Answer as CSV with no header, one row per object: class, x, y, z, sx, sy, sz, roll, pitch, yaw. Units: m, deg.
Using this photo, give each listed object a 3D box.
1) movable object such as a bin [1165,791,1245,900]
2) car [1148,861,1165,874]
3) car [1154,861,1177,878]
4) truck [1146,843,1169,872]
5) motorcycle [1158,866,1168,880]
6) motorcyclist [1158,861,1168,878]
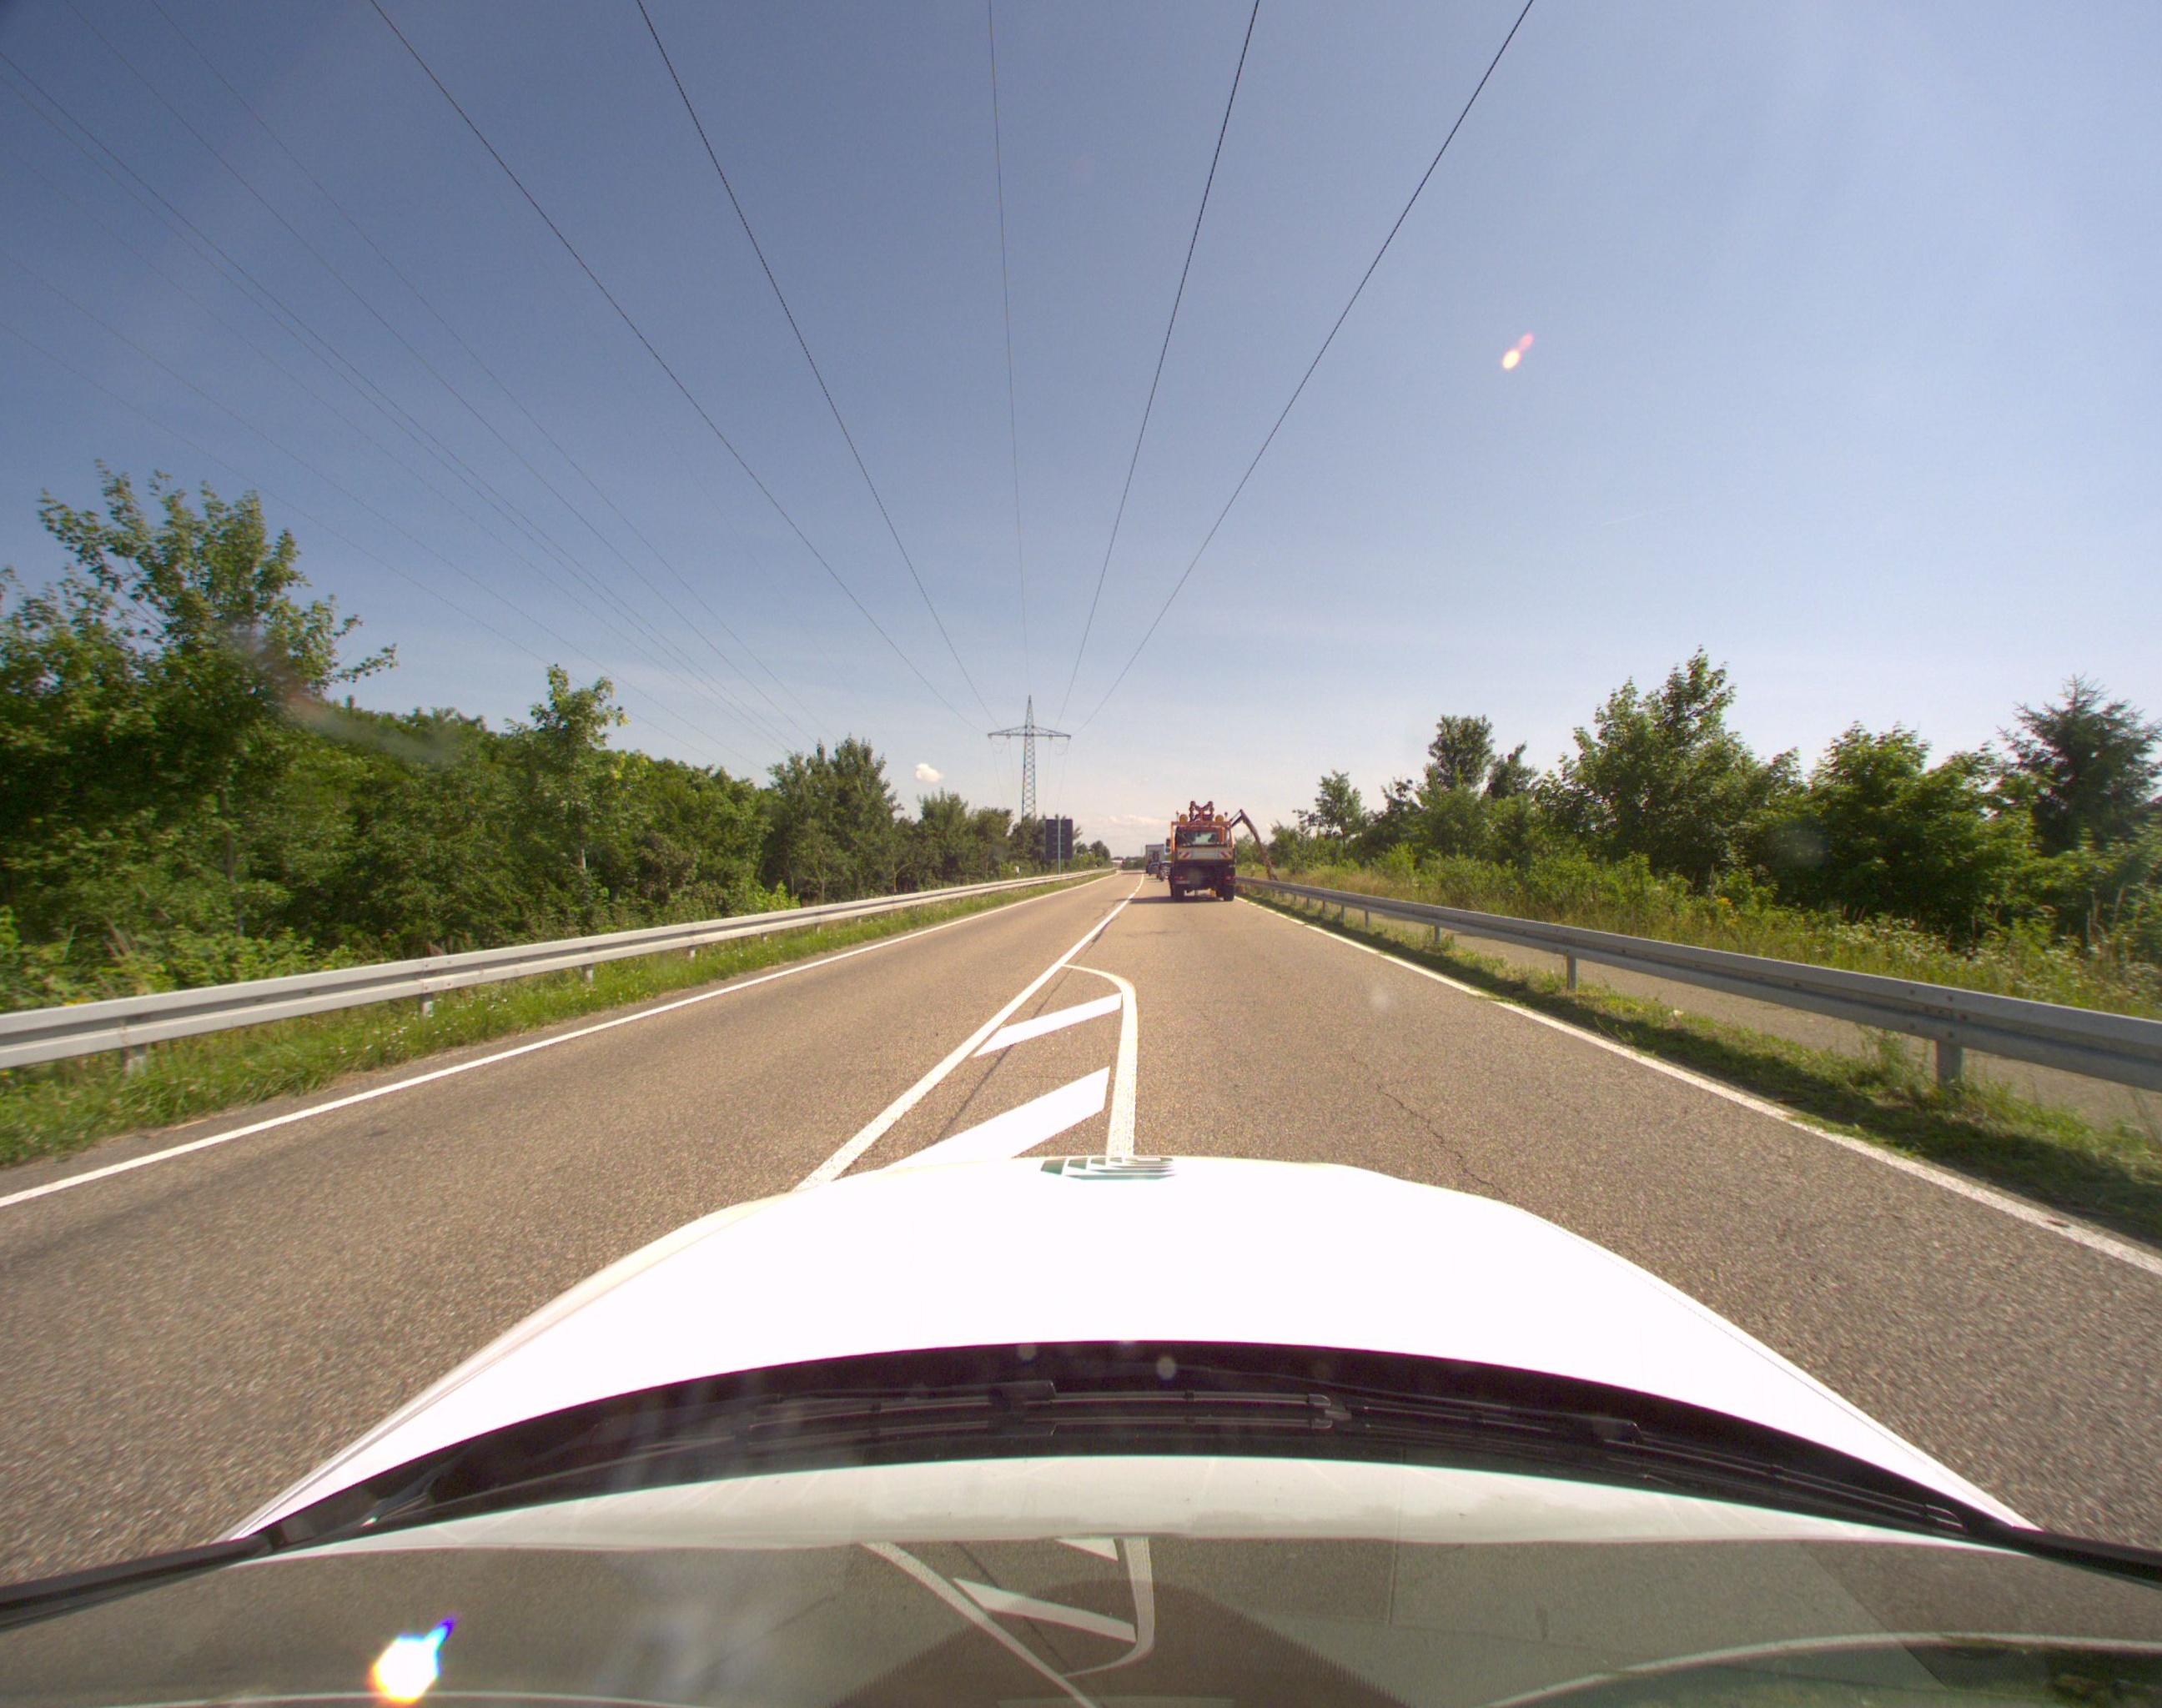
movable object such as a bin,4.880,-0.270,33.654,2.739,3.839,9.460,-1,0,6
car,8.638,1.534,93.563,1.857,1.420,4.005,0,0,5
car,7.663,1.366,73.534,1.815,1.451,4.010,-1,0,9
truck,11.047,0.510,117.500,3.226,3.979,9.457,-1,-1,5
motorcycle,6.341,1.454,63.000,0.776,0.975,2.365,-1,0,5
motorcyclist,6.350,1.197,63.022,0.776,1.325,0.814,-1,-1,5
